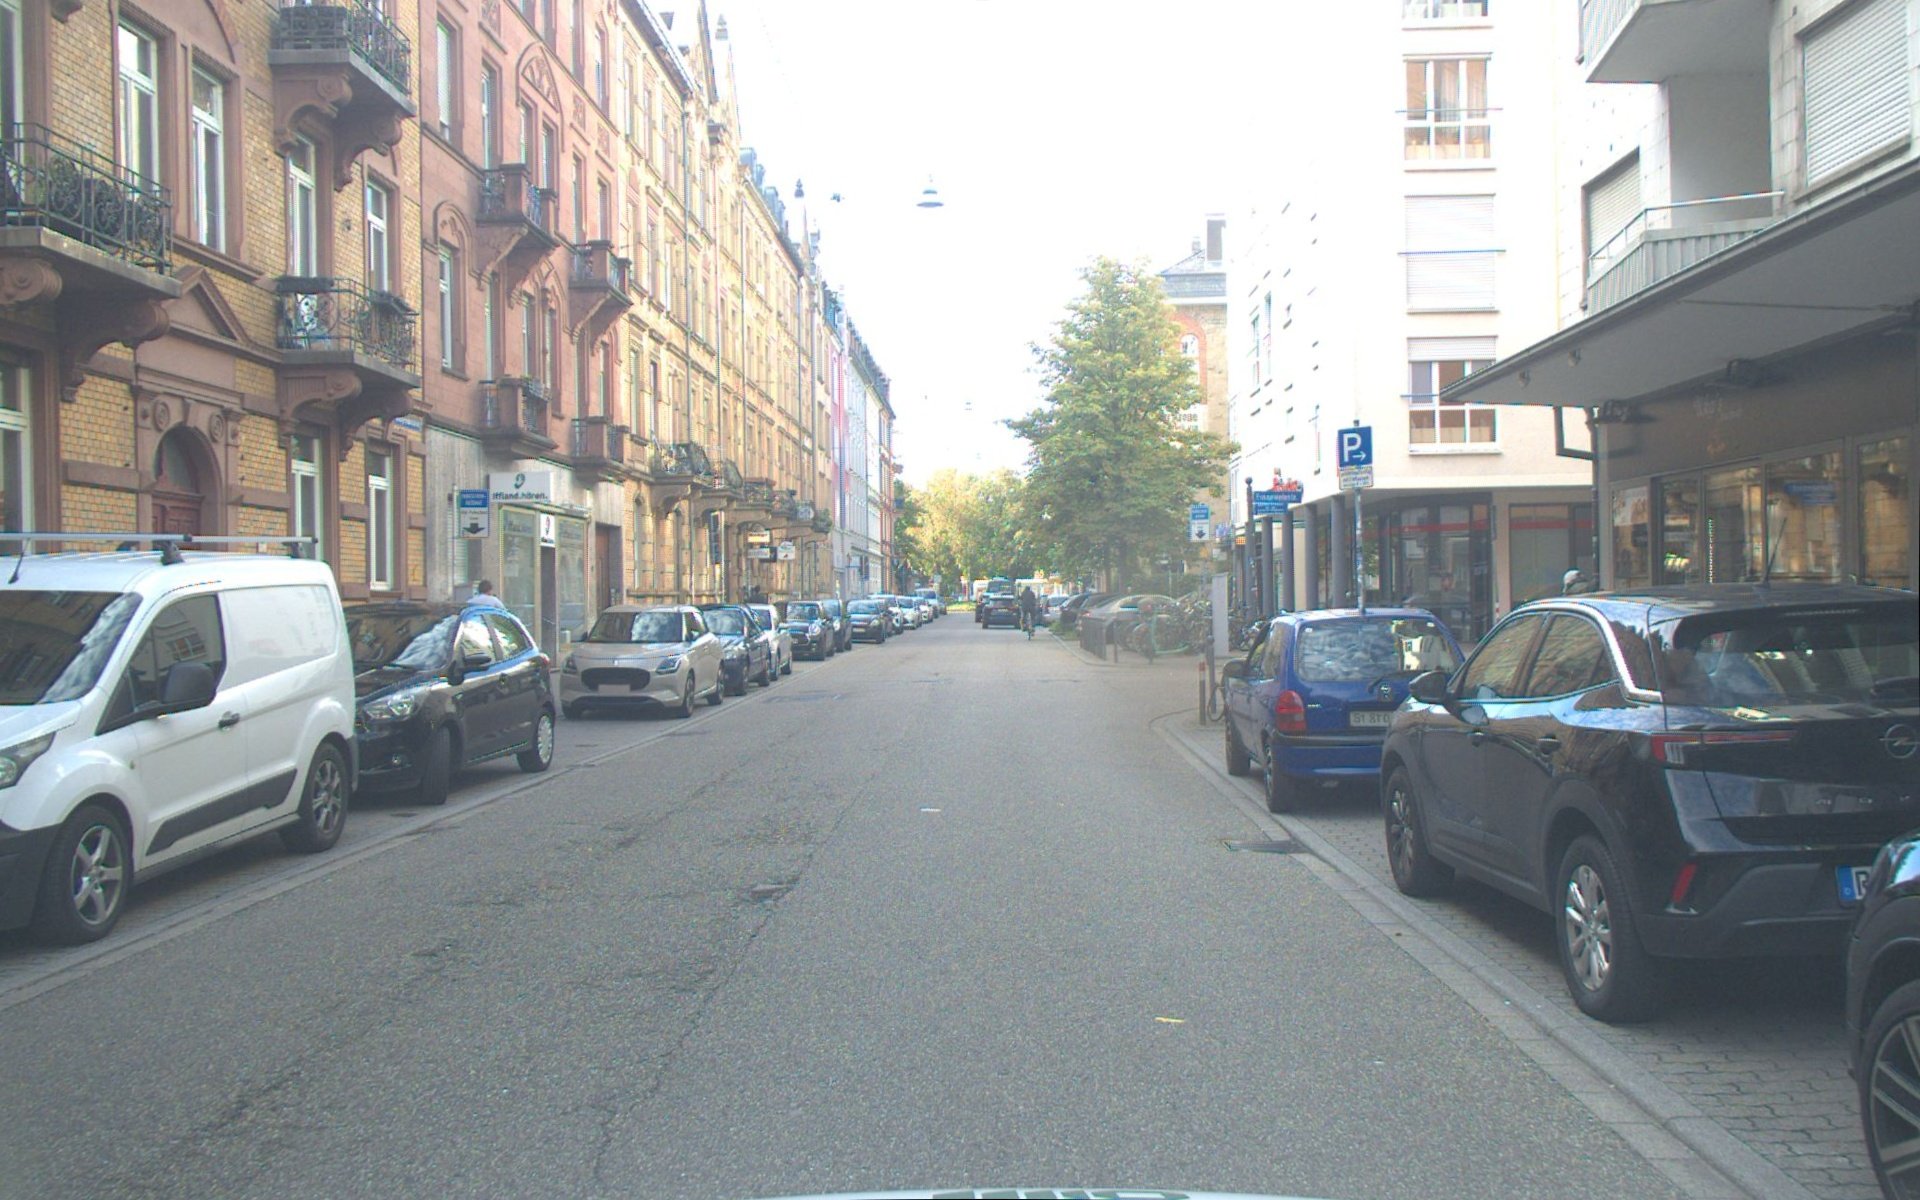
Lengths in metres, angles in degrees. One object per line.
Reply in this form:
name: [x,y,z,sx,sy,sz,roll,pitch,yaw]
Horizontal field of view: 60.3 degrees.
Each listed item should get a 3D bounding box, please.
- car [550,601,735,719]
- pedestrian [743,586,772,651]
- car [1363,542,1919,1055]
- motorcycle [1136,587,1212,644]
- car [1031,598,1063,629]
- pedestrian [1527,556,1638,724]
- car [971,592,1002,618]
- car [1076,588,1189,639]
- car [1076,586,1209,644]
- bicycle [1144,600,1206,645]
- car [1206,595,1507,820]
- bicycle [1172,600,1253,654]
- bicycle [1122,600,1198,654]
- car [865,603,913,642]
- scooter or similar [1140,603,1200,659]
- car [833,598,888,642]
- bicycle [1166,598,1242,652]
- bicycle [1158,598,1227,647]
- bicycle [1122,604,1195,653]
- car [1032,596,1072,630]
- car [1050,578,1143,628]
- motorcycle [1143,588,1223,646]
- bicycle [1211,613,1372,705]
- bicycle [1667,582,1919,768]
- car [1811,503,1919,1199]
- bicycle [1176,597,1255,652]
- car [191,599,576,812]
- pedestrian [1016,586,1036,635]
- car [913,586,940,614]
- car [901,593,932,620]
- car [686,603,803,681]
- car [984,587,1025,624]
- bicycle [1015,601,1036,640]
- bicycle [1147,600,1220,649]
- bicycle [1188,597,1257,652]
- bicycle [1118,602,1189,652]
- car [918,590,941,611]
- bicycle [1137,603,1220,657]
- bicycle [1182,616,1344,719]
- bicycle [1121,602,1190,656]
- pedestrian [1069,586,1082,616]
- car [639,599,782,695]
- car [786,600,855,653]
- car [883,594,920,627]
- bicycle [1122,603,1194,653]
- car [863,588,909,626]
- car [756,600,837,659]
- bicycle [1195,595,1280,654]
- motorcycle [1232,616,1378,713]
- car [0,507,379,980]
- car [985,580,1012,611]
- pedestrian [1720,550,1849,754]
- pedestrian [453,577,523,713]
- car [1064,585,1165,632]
car: [-4.359,0.783,23.300,1.705,1.509,3.984,0,0,2]
pedestrian: [-5.908,0.528,48.311,0.674,1.886,0.932,0,0,3]
car: [3.079,0.621,7.217,1.653,1.604,3.902,-2,0,0]
motorcycle: [6.289,0.455,48.704,2.105,1.557,0.686,-3,0,6]
car: [4.648,0.706,88.531,1.655,1.577,3.689,0,0,2]
pedestrian: [6.191,0.394,16.491,0.806,1.616,0.781,-1,0,3]
car: [1.563,0.285,96.834,1.760,1.497,3.888,0,0,1]
car: [6.193,0.467,59.379,3.902,1.611,2.001,-3,0,6]
car: [5.604,0.479,50.982,3.691,1.573,1.727,-3,-1,-9]
bicycle: [6.107,0.629,47.019,1.629,1.179,0.557,-3,0,3]
car: [2.979,0.723,13.193,1.562,1.464,4.031,-2,0,3]
bicycle: [5.707,0.612,37.450,1.729,1.106,0.650,-3,0,3]
bicycle: [4.761,0.643,39.365,1.739,1.166,0.409,-3,0,-19]
car: [-2.705,0.849,63.504,1.656,1.393,3.866,3,0,0]
scooter or similar: [4.593,0.676,36.220,1.184,1.167,0.377,-3,1,33]
car: [-3.417,0.673,57.533,1.656,1.393,3.866,3,0,0]
bicycle: [5.789,0.580,39.274,1.739,1.166,0.409,-3,0,-19]
bicycle: [6.146,0.586,43.777,1.696,1.179,0.500,-3,0,3]
bicycle: [4.883,0.700,40.726,1.728,1.118,0.412,-3,0,4]
car: [4.648,0.647,84.026,1.890,1.667,4.001,0,0,2]
car: [5.933,0.107,72.025,3.903,1.712,1.740,-3,8,5]
motorcycle: [6.138,0.472,45.673,2.105,1.459,0.766,-3,0,6]
bicycle: [4.193,0.751,21.037,1.930,1.114,0.685,-3,-1,45]
bicycle: [6.666,0.544,13.309,0.899,1.313,2.500,-3,0,2]
car: [2.949,0.592,2.106,1.755,1.633,3.925,-1,0,1]
bicycle: [5.995,0.568,38.766,1.731,1.166,0.411,-3,0,-5]
car: [-4.592,0.767,13.839,1.705,1.509,3.984,0,0,2]
pedestrian: [2.288,0.351,57.357,0.703,1.679,0.930,0,0,2]
car: [-2.282,0.011,113.743,1.655,1.853,3.867,0,0,1]
car: [-2.523,0.387,97.211,1.655,1.577,3.867,0,0,1]
car: [-4.138,0.776,32.297,1.655,1.411,3.868,0,0,2]
car: [2.181,0.287,81.280,1.924,1.771,4.042,-1,-1,2]
bicycle: [2.278,0.702,57.238,0.703,1.296,1.884,0,0,2]
bicycle: [5.783,0.632,42.791,1.759,1.179,0.499,-3,0,28]
bicycle: [6.060,0.566,38.225,1.464,1.166,0.411,-3,0,1]
bicycle: [4.955,0.687,42.404,1.756,1.179,0.500,-3,0,4]
car: [-2.357,0.052,128.647,1.655,1.577,3.867,0,0,1]
bicycle: [4.865,0.663,36.826,1.731,1.075,0.411,-3,0,-4]
bicycle: [3.497,0.780,19.184,1.740,1.114,0.679,-3,-1,45]
bicycle: [4.515,0.662,38.202,1.466,1.166,0.411,-3,0,-4]
pedestrian: [8.811,0.077,126.562,0.975,2.269,0.899,0,0,2]
car: [-4.159,0.751,28.185,1.705,1.509,3.984,0,0,2]
car: [-3.954,0.731,47.388,1.655,1.462,3.866,0,0,0]
car: [-2.885,0.504,81.921,1.655,1.577,3.867,0,0,1]
bicycle: [4.961,0.694,41.469,1.728,1.138,0.412,-3,0,4]
car: [-3.112,0.304,70.046,1.655,1.577,3.868,0,0,1]
car: [-4.054,0.708,41.457,1.655,1.411,3.866,0,0,0]
bicycle: [6.105,0.537,36.393,1.729,1.182,0.650,-3,0,3]
motorcycle: [4.148,0.776,19.969,1.637,1.114,0.604,-3,-1,45]
car: [-4.789,0.567,8.667,1.880,1.904,4.437,0,0,0]
car: [2.524,-0.299,109.973,1.745,2.055,3.888,0,0,1]
pedestrian: [6.836,0.420,13.747,0.630,1.616,0.781,-3,0,3]
pedestrian: [-6.480,0.606,22.761,0.716,1.821,0.771,2,0,-5]
car: [6.222,0.324,66.536,3.902,1.669,2.001,-3,0,6]
